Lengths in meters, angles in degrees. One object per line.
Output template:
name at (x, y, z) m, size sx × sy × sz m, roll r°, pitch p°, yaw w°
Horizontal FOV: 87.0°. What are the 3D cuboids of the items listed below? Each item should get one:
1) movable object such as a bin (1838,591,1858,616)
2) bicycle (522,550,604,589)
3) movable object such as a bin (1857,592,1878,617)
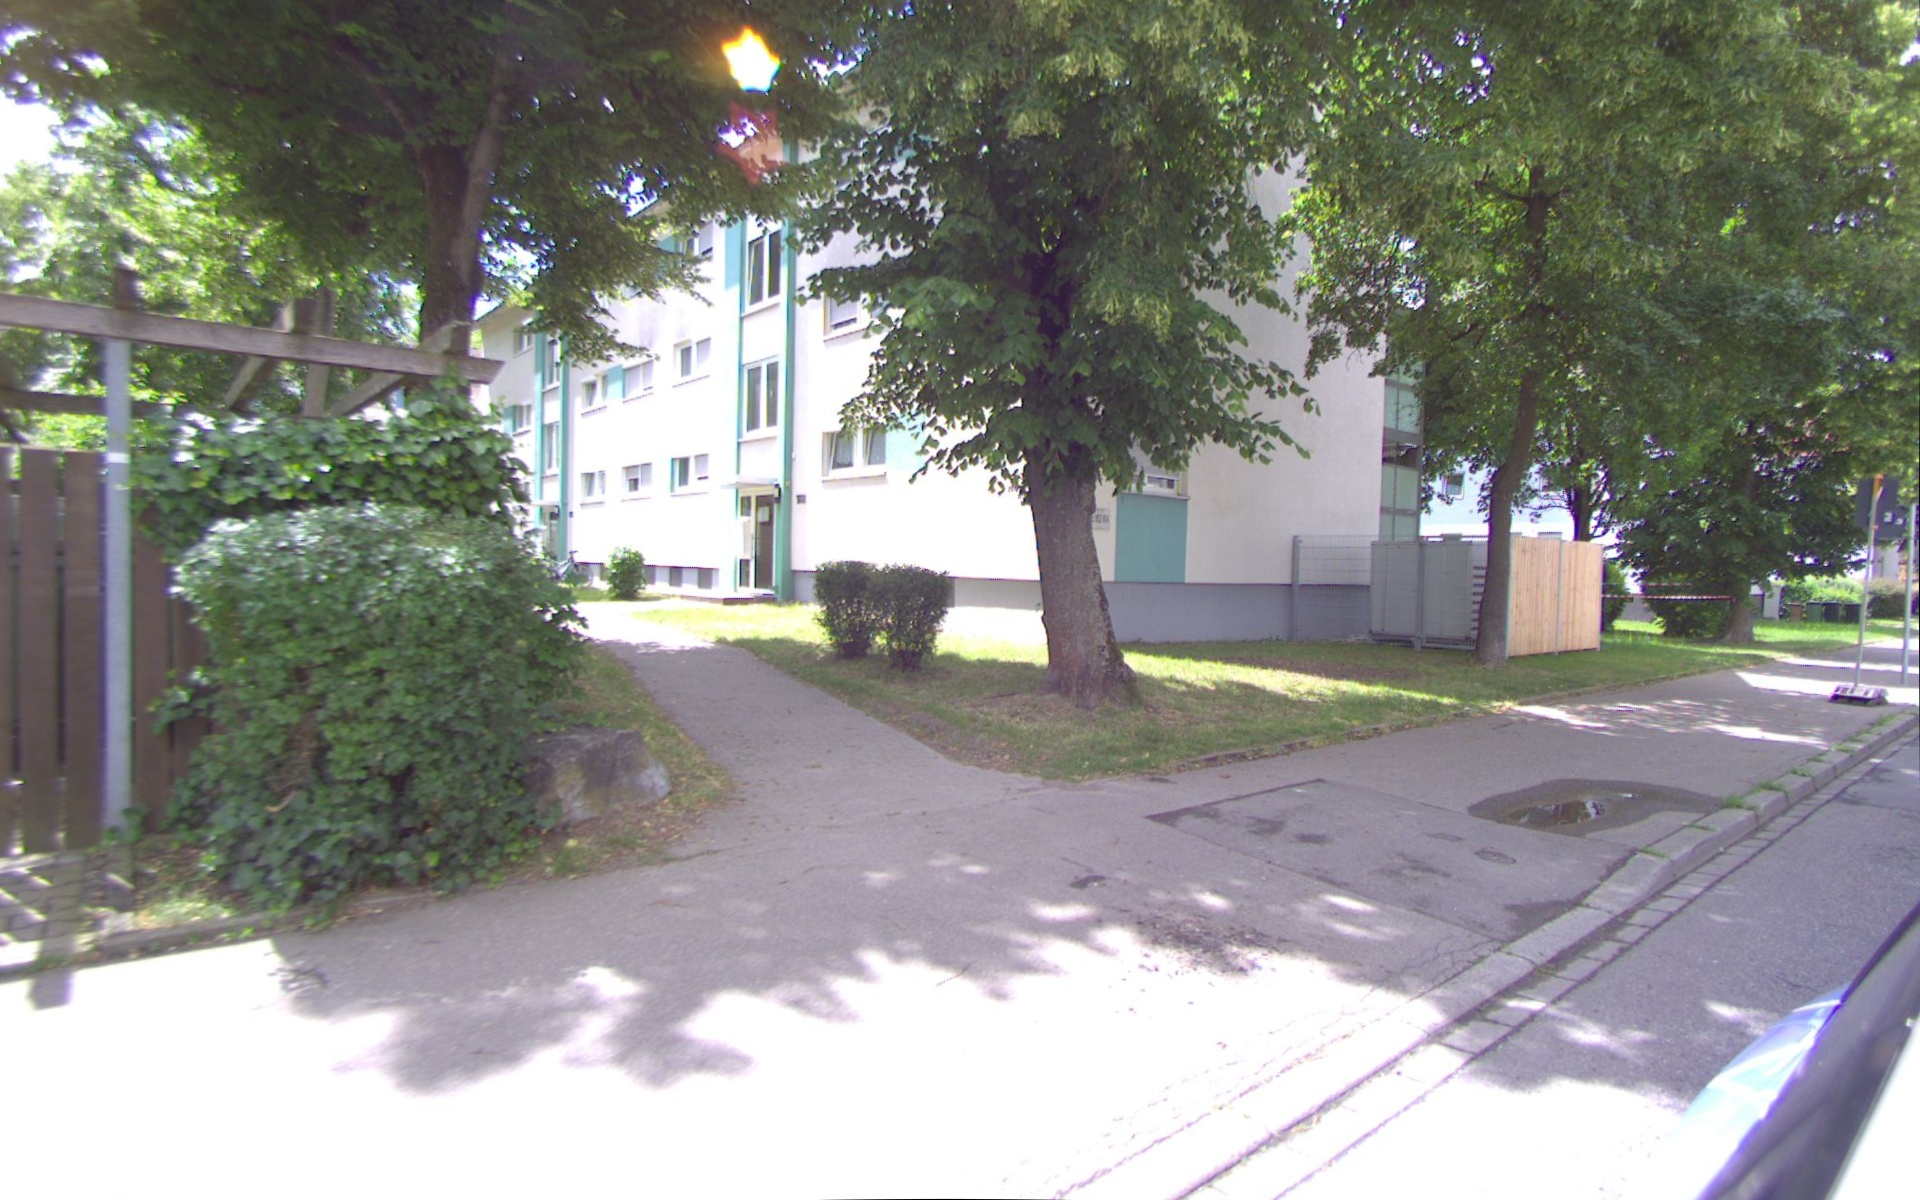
movable object such as a bin at (35.943, 0.146, 40.980) m, size 0.541 × 0.958 × 0.501 m, roll 0°, pitch 3°, yaw -41°
bicycle at (-10.128, -0.772, 25.878) m, size 1.882 × 0.964 × 0.529 m, roll 0°, pitch 3°, yaw -41°
movable object such as a bin at (36.337, 0.184, 40.519) m, size 0.570 × 0.966 × 0.497 m, roll 0°, pitch 3°, yaw -41°
